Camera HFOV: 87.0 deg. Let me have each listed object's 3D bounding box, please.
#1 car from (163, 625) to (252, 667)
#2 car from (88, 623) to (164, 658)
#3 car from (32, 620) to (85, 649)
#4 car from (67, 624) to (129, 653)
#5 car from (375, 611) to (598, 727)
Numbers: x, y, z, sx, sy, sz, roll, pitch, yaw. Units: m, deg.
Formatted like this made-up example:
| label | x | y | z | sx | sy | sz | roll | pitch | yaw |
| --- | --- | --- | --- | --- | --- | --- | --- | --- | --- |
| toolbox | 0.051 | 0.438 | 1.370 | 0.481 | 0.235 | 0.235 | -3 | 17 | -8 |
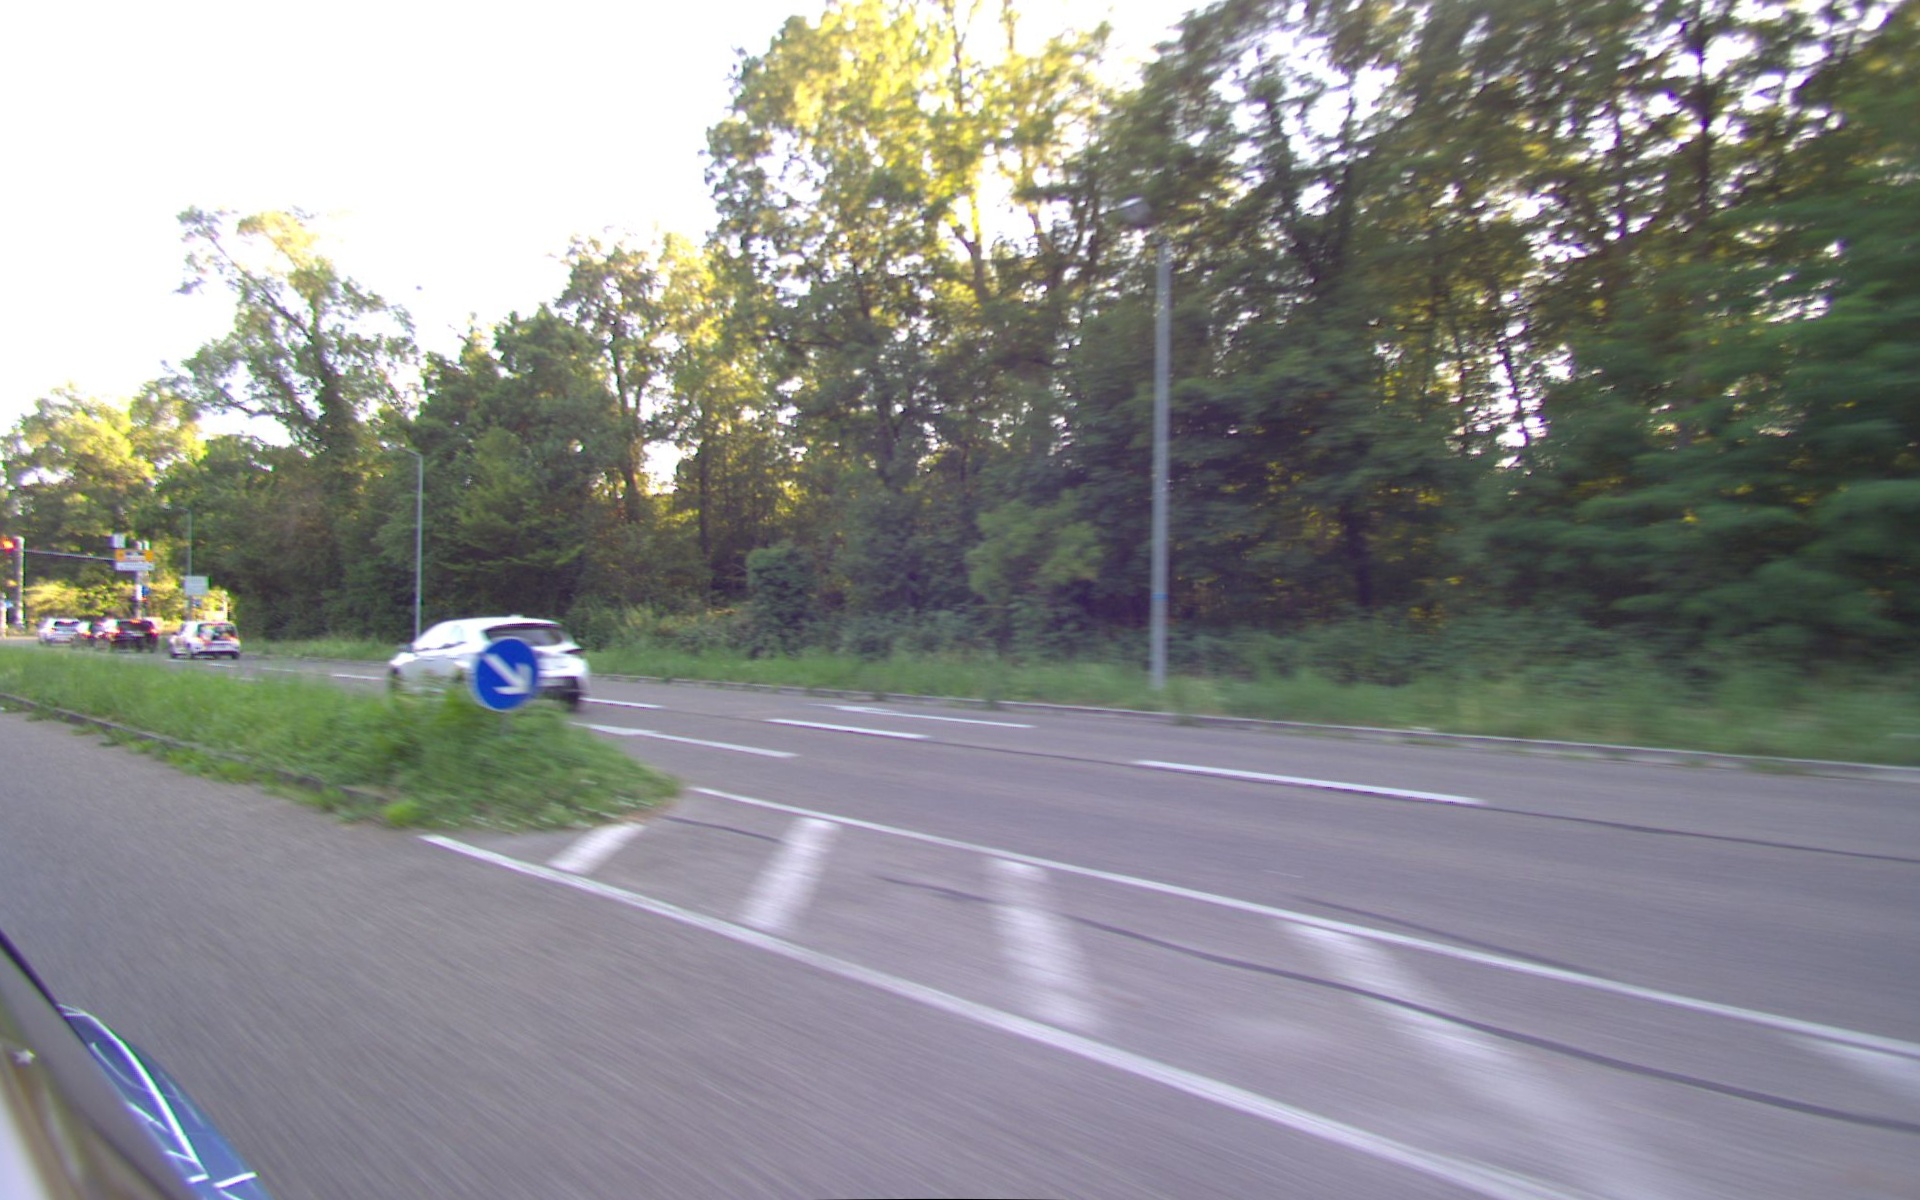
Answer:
| label | x | y | z | sx | sy | sz | roll | pitch | yaw |
| --- | --- | --- | --- | --- | --- | --- | --- | --- | --- |
| car | -29.609 | 1.773 | 39.801 | 3.808 | 1.469 | 1.973 | 1 | -1 | 40 |
| car | -40.740 | 1.956 | 49.422 | 4.647 | 1.640 | 1.974 | -1 | -3 | 39 |
| car | -53.840 | 2.073 | 60.420 | 4.640 | 1.626 | 1.802 | -1 | -4 | 42 |
| car | -46.731 | 2.086 | 54.866 | 4.228 | 1.491 | 1.805 | -1 | -3 | 39 |
| car | -7.522 | 0.982 | 15.916 | 3.938 | 1.518 | 1.816 | 1 | -1 | 43 |
